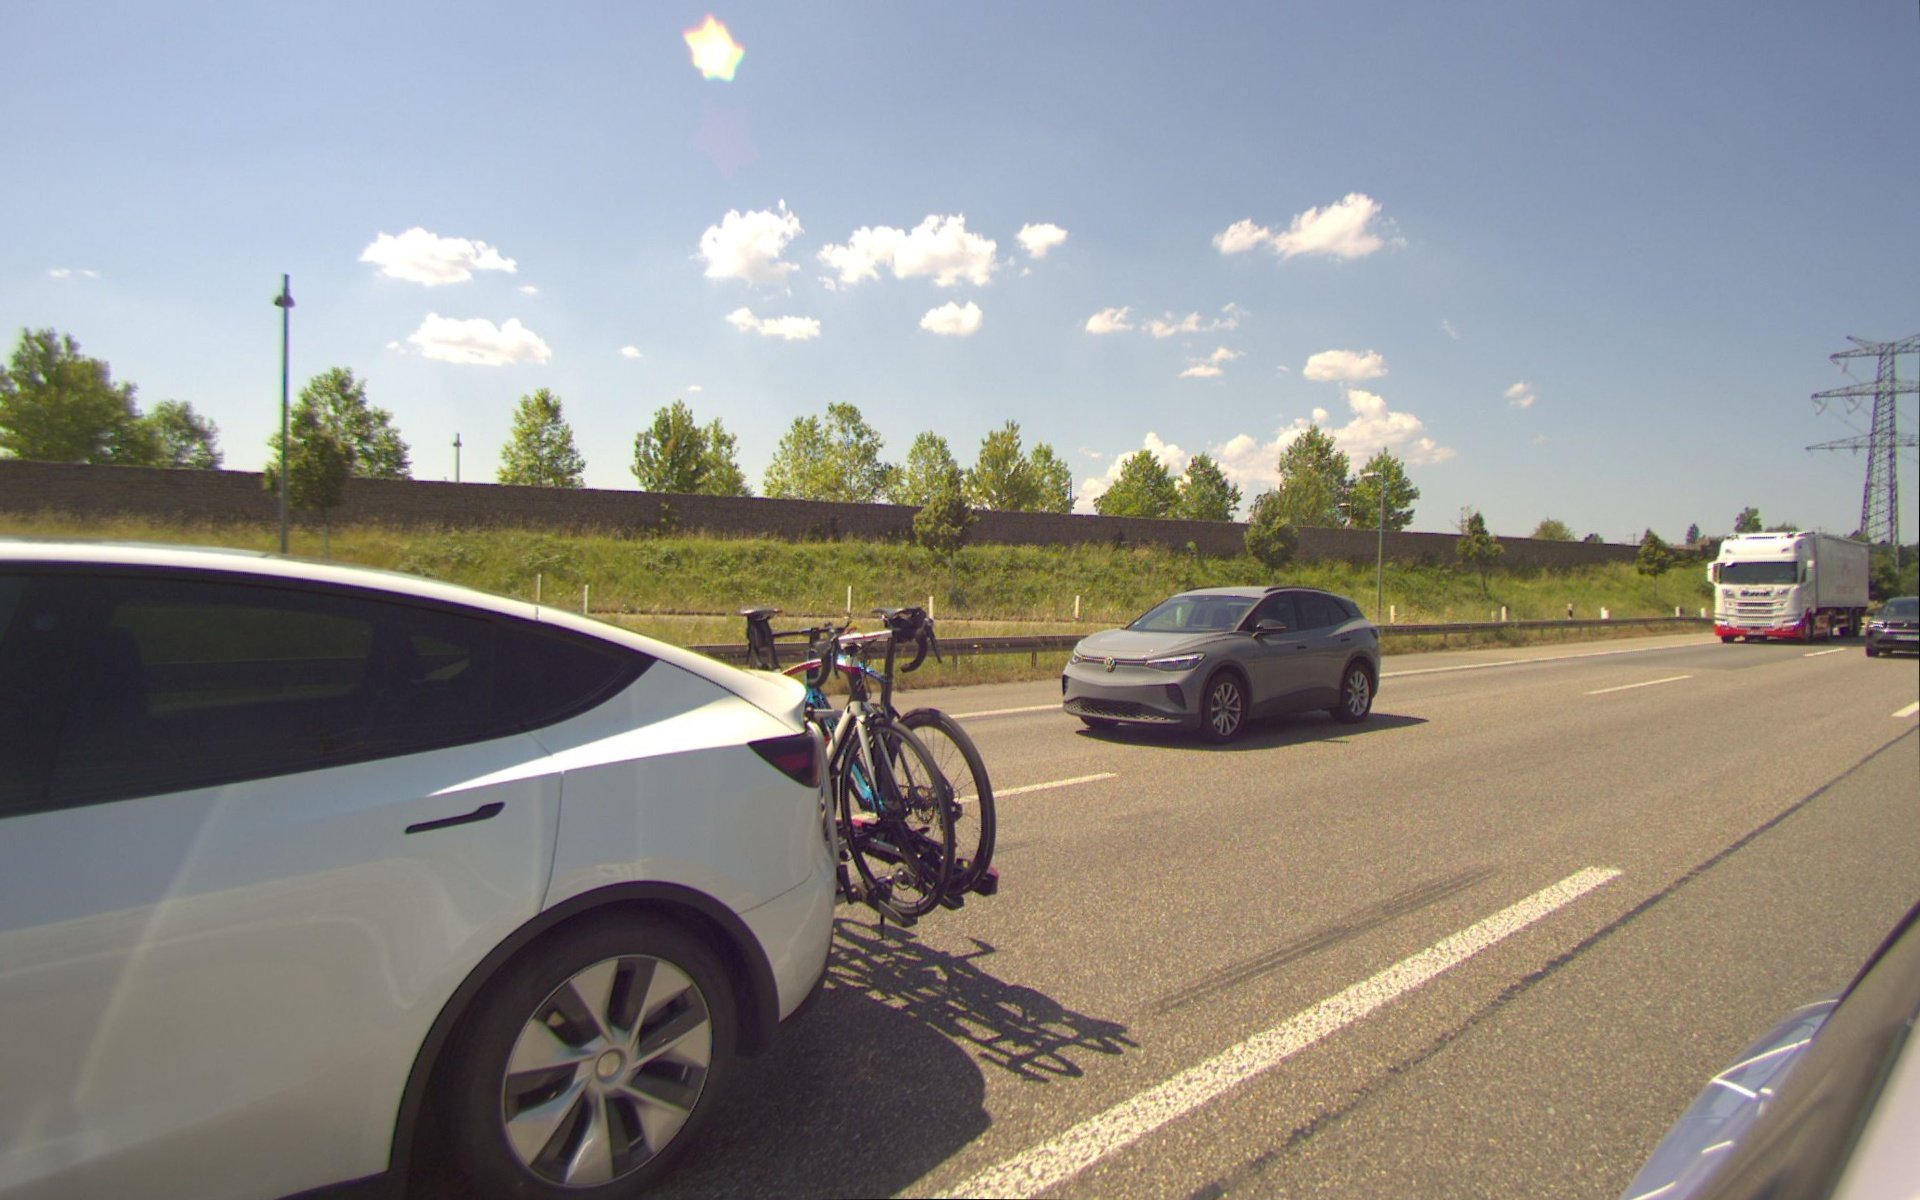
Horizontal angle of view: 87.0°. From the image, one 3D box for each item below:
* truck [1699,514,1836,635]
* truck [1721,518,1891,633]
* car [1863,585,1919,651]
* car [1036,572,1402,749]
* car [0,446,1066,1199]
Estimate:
[{"bbox_3d":[28.339,-0.847,35.526,3.779,3.957,3.075,0,0,-40],"label":"truck"},{"bbox_3d":[33.717,-0.878,40.064,12.282,3.957,3.074,0,0,-40],"label":"truck"},{"bbox_3d":[25.815,0.444,27.048,3.975,1.667,1.954,0,0,-40],"label":"car"},{"bbox_3d":[3.132,0.554,11.704,4.505,1.657,1.871,0,0,-41],"label":"car"},{"bbox_3d":[-2.333,0.574,2.323,5.504,1.657,1.953,0,0,-42],"label":"car"}]
